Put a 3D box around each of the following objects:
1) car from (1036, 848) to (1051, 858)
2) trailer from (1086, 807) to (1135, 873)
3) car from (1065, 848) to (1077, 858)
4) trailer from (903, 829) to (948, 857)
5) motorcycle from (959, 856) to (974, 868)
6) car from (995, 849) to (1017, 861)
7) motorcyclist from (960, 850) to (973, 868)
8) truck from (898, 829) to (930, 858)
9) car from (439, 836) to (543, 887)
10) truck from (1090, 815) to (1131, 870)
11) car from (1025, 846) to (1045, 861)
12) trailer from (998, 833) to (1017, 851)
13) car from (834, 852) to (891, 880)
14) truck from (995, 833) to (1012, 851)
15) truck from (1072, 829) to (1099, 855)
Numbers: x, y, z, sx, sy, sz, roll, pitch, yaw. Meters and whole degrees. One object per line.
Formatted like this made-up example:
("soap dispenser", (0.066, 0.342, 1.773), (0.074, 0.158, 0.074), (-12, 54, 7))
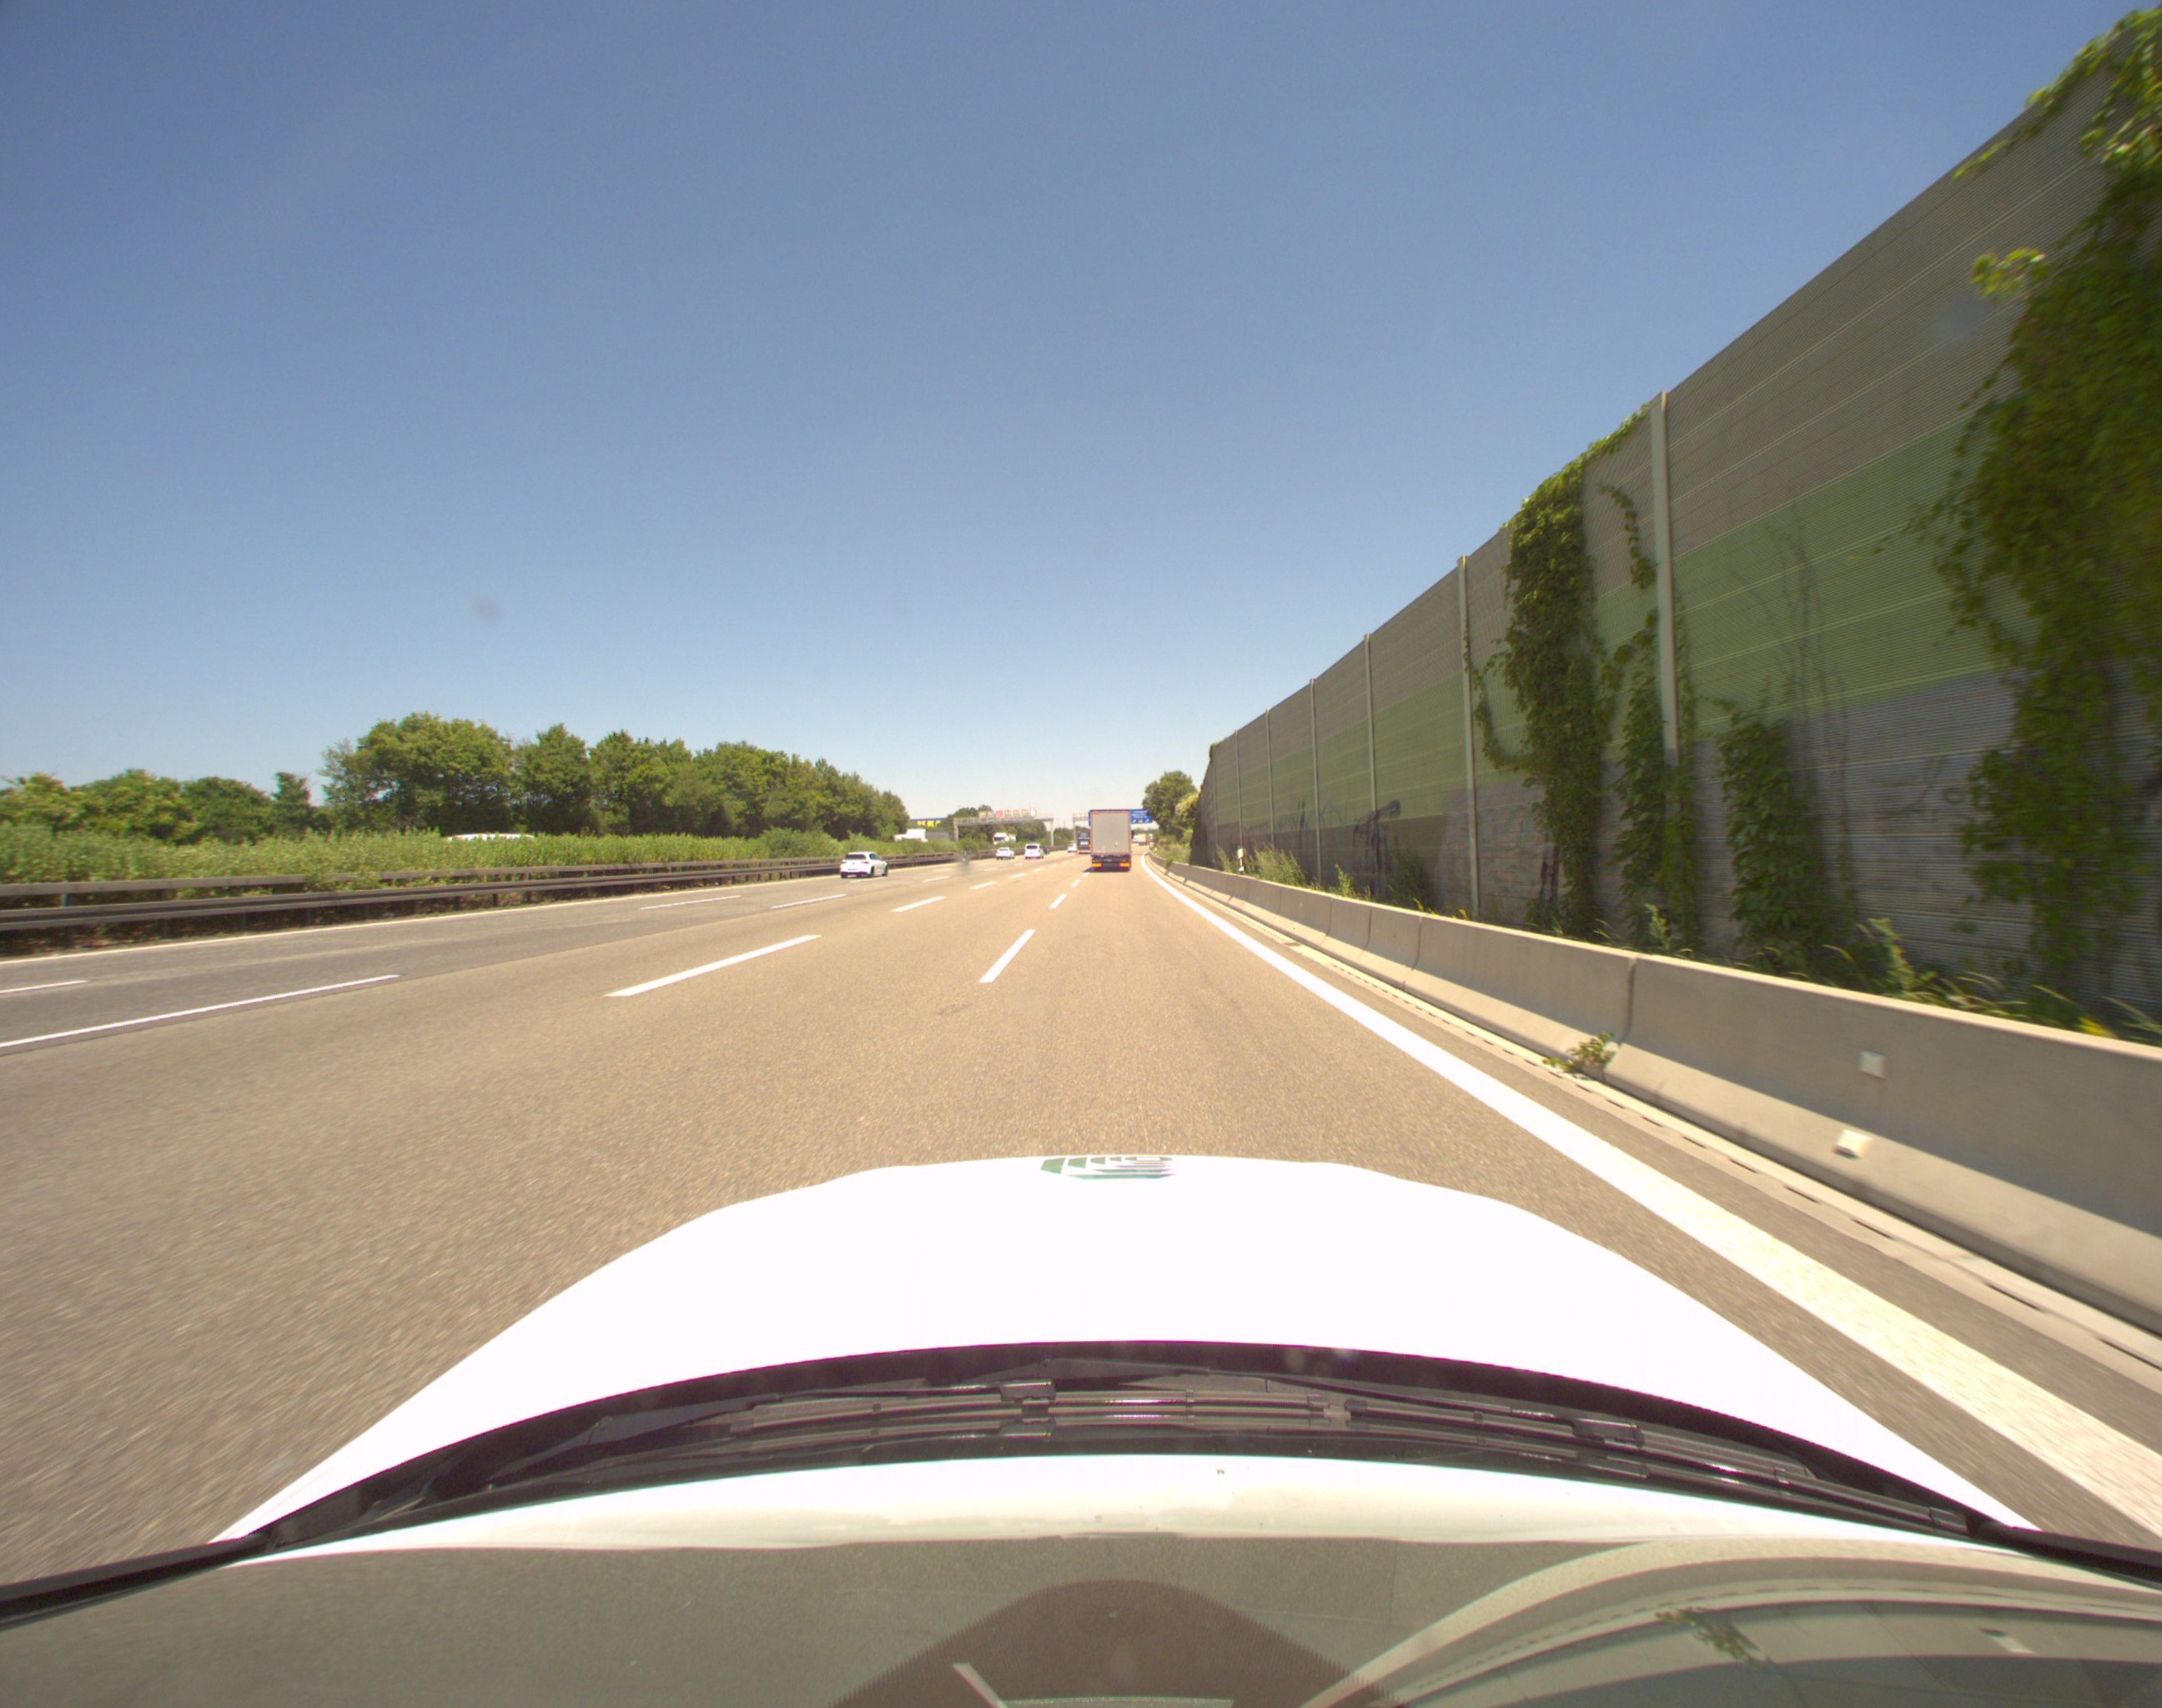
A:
("car", (-6.129, -0.188, 133.584), (1.749, 1.408, 5.046), (-2, 0, 4))
("trailer", (2.009, -0.858, 56.882), (2.917, 4.015, 12.043), (-2, 0, 2))
("car", (-1.917, -0.229, 153.243), (1.896, 1.851, 4.636), (-2, 1, 3))
("trailer", (-23.816, -1.636, 125.867), (3.377, 4.089, 13.940), (-1, 1, 3))
("motorcycle", (-10.367, 0.706, 73.659), (0.909, 1.089, 2.850), (-1, 0, 1))
("car", (-9.312, 0.138, 101.228), (1.868, 1.440, 5.130), (-1, 0, 3))
("motorcyclist", (-10.374, 0.447, 73.728), (0.890, 1.597, 1.299), (-1, 0, 0))
("truck", (-24.224, -1.494, 118.310), (3.319, 4.089, 4.832), (-1, 0, 3))
("car", (-28.298, 0.342, 39.241), (1.960, 2.305, 3.985), (-1, 0, 1))
("truck", (2.289, -0.872, 64.276), (2.917, 4.015, 7.586), (-2, 0, 2))
("car", (-5.745, -0.039, 101.978), (1.922, 1.851, 4.697), (-2, -1, 4))
("trailer", (-16.582, -2.670, 185.276), (2.677, 3.888, 9.747), (-1, 1, 5))
("car", (-12.292, 0.661, 46.205), (1.775, 1.440, 4.672), (-1, 0, 2))
("truck", (-17.015, -2.586, 179.989), (2.682, 3.888, 5.753), (-1, 1, 5))
("truck", (0.952, -2.173, 141.853), (3.730, 4.270, 14.514), (-1, 1, 4))
